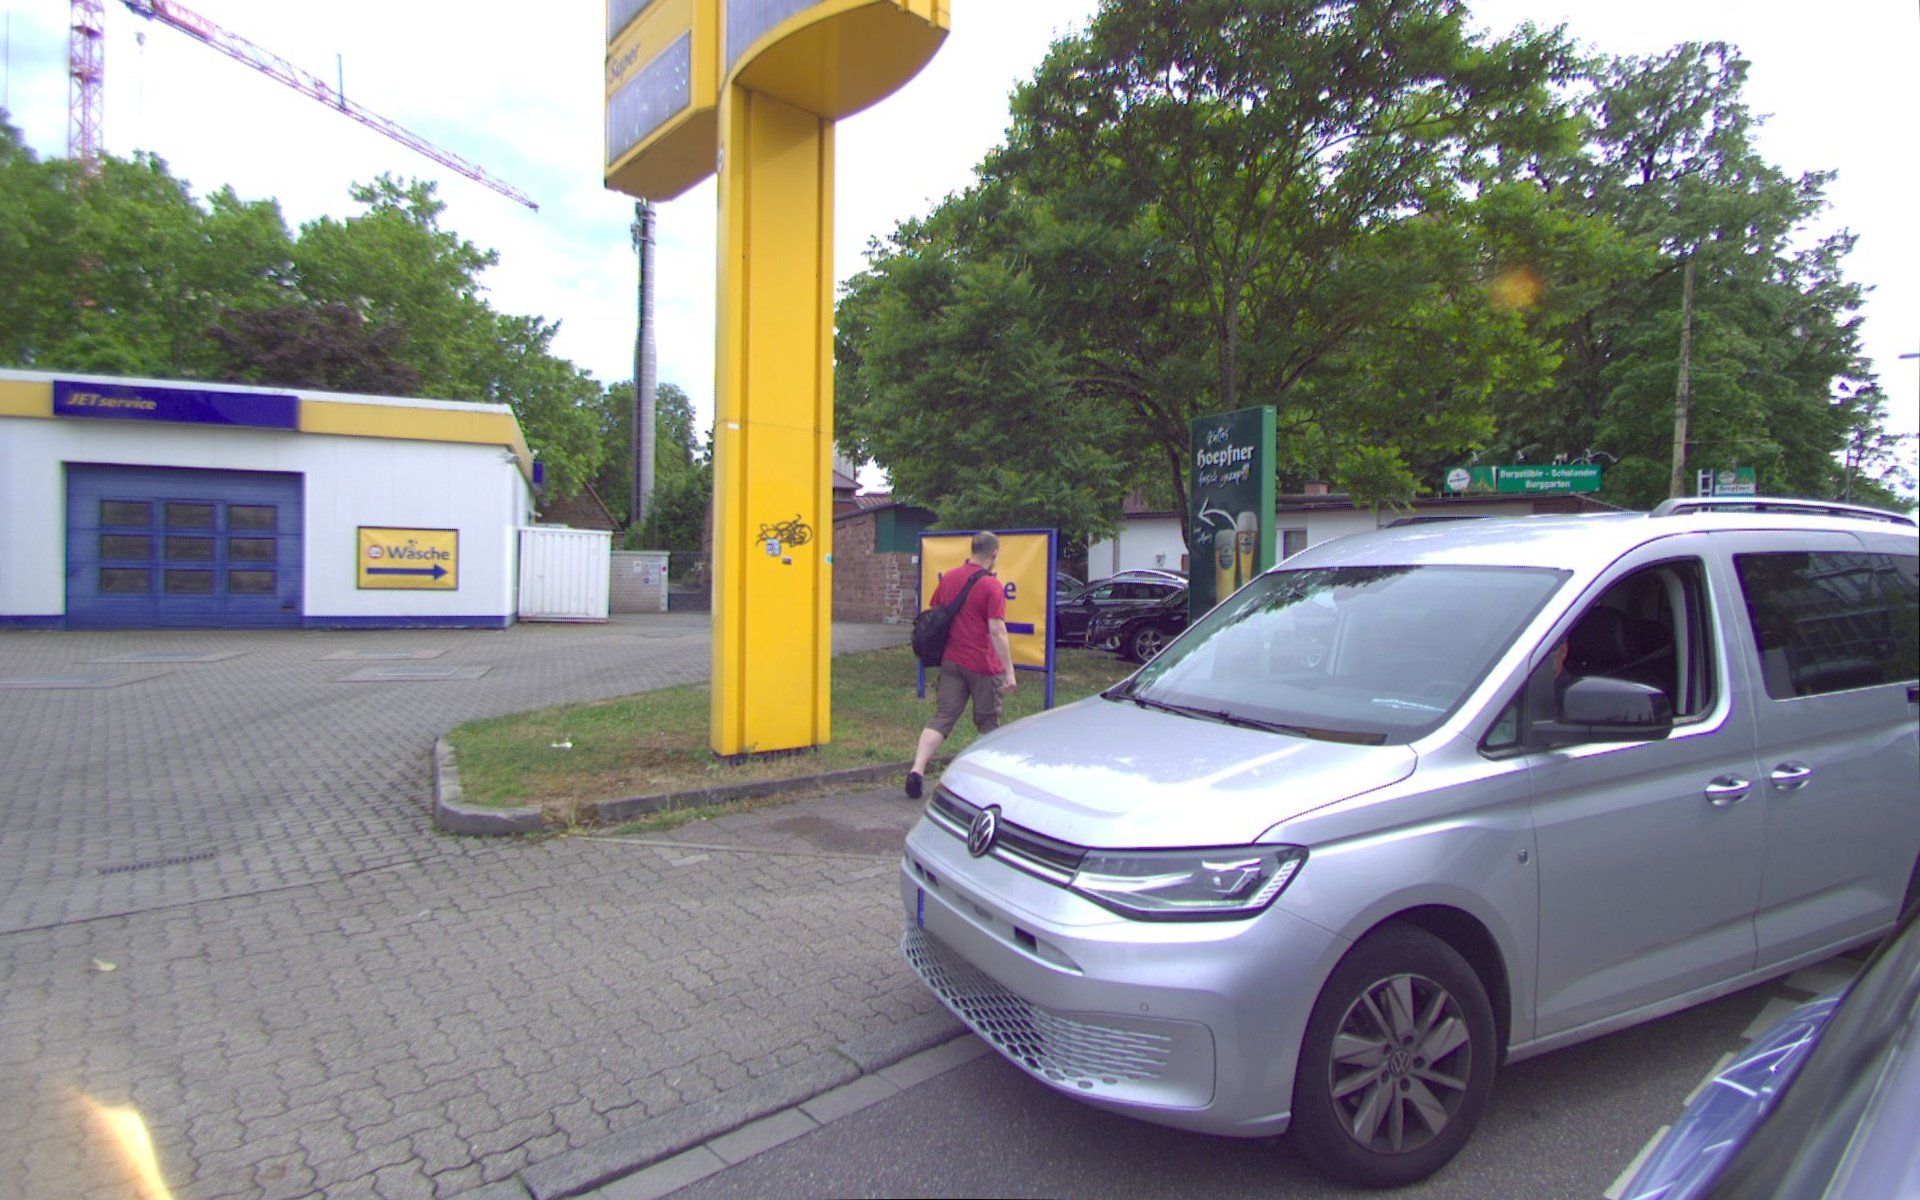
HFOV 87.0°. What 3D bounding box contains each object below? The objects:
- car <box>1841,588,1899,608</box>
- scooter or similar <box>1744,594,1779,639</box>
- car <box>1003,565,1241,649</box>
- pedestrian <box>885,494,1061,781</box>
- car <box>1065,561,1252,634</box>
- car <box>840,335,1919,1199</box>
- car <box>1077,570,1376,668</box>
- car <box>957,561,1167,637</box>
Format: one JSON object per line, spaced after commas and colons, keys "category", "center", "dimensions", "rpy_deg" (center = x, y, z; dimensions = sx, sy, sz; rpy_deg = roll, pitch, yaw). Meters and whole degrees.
{"category": "car", "center": [92.599, -0.197, 103.019], "dimensions": [1.961, 1.637, 4.005], "rpy_deg": [0, 4, -33]}
{"category": "scooter or similar", "center": [23.764, 0.477, 30.009], "dimensions": [1.387, 1.254, 0.577], "rpy_deg": [0, 4, -45]}
{"category": "car", "center": [3.204, 0.111, 20.703], "dimensions": [4.453, 1.444, 1.880], "rpy_deg": [2, 3, -2]}
{"category": "pedestrian", "center": [0.111, 0.204, 6.787], "dimensions": [0.961, 1.759, 0.858], "rpy_deg": [2, 3, 15]}
{"category": "car", "center": [4.927, -0.103, 25.608], "dimensions": [1.955, 1.667, 4.434], "rpy_deg": [0, 1, -39]}
{"category": "car", "center": [2.157, 0.400, 3.905], "dimensions": [4.835, 1.830, 1.855], "rpy_deg": [1, 1, -27]}
{"category": "car", "center": [4.394, 0.284, 17.196], "dimensions": [4.497, 1.425, 1.936], "rpy_deg": [2, 1, 0]}
{"category": "car", "center": [2.240, -0.029, 23.104], "dimensions": [4.401, 1.477, 1.988], "rpy_deg": [2, 1, -6]}
